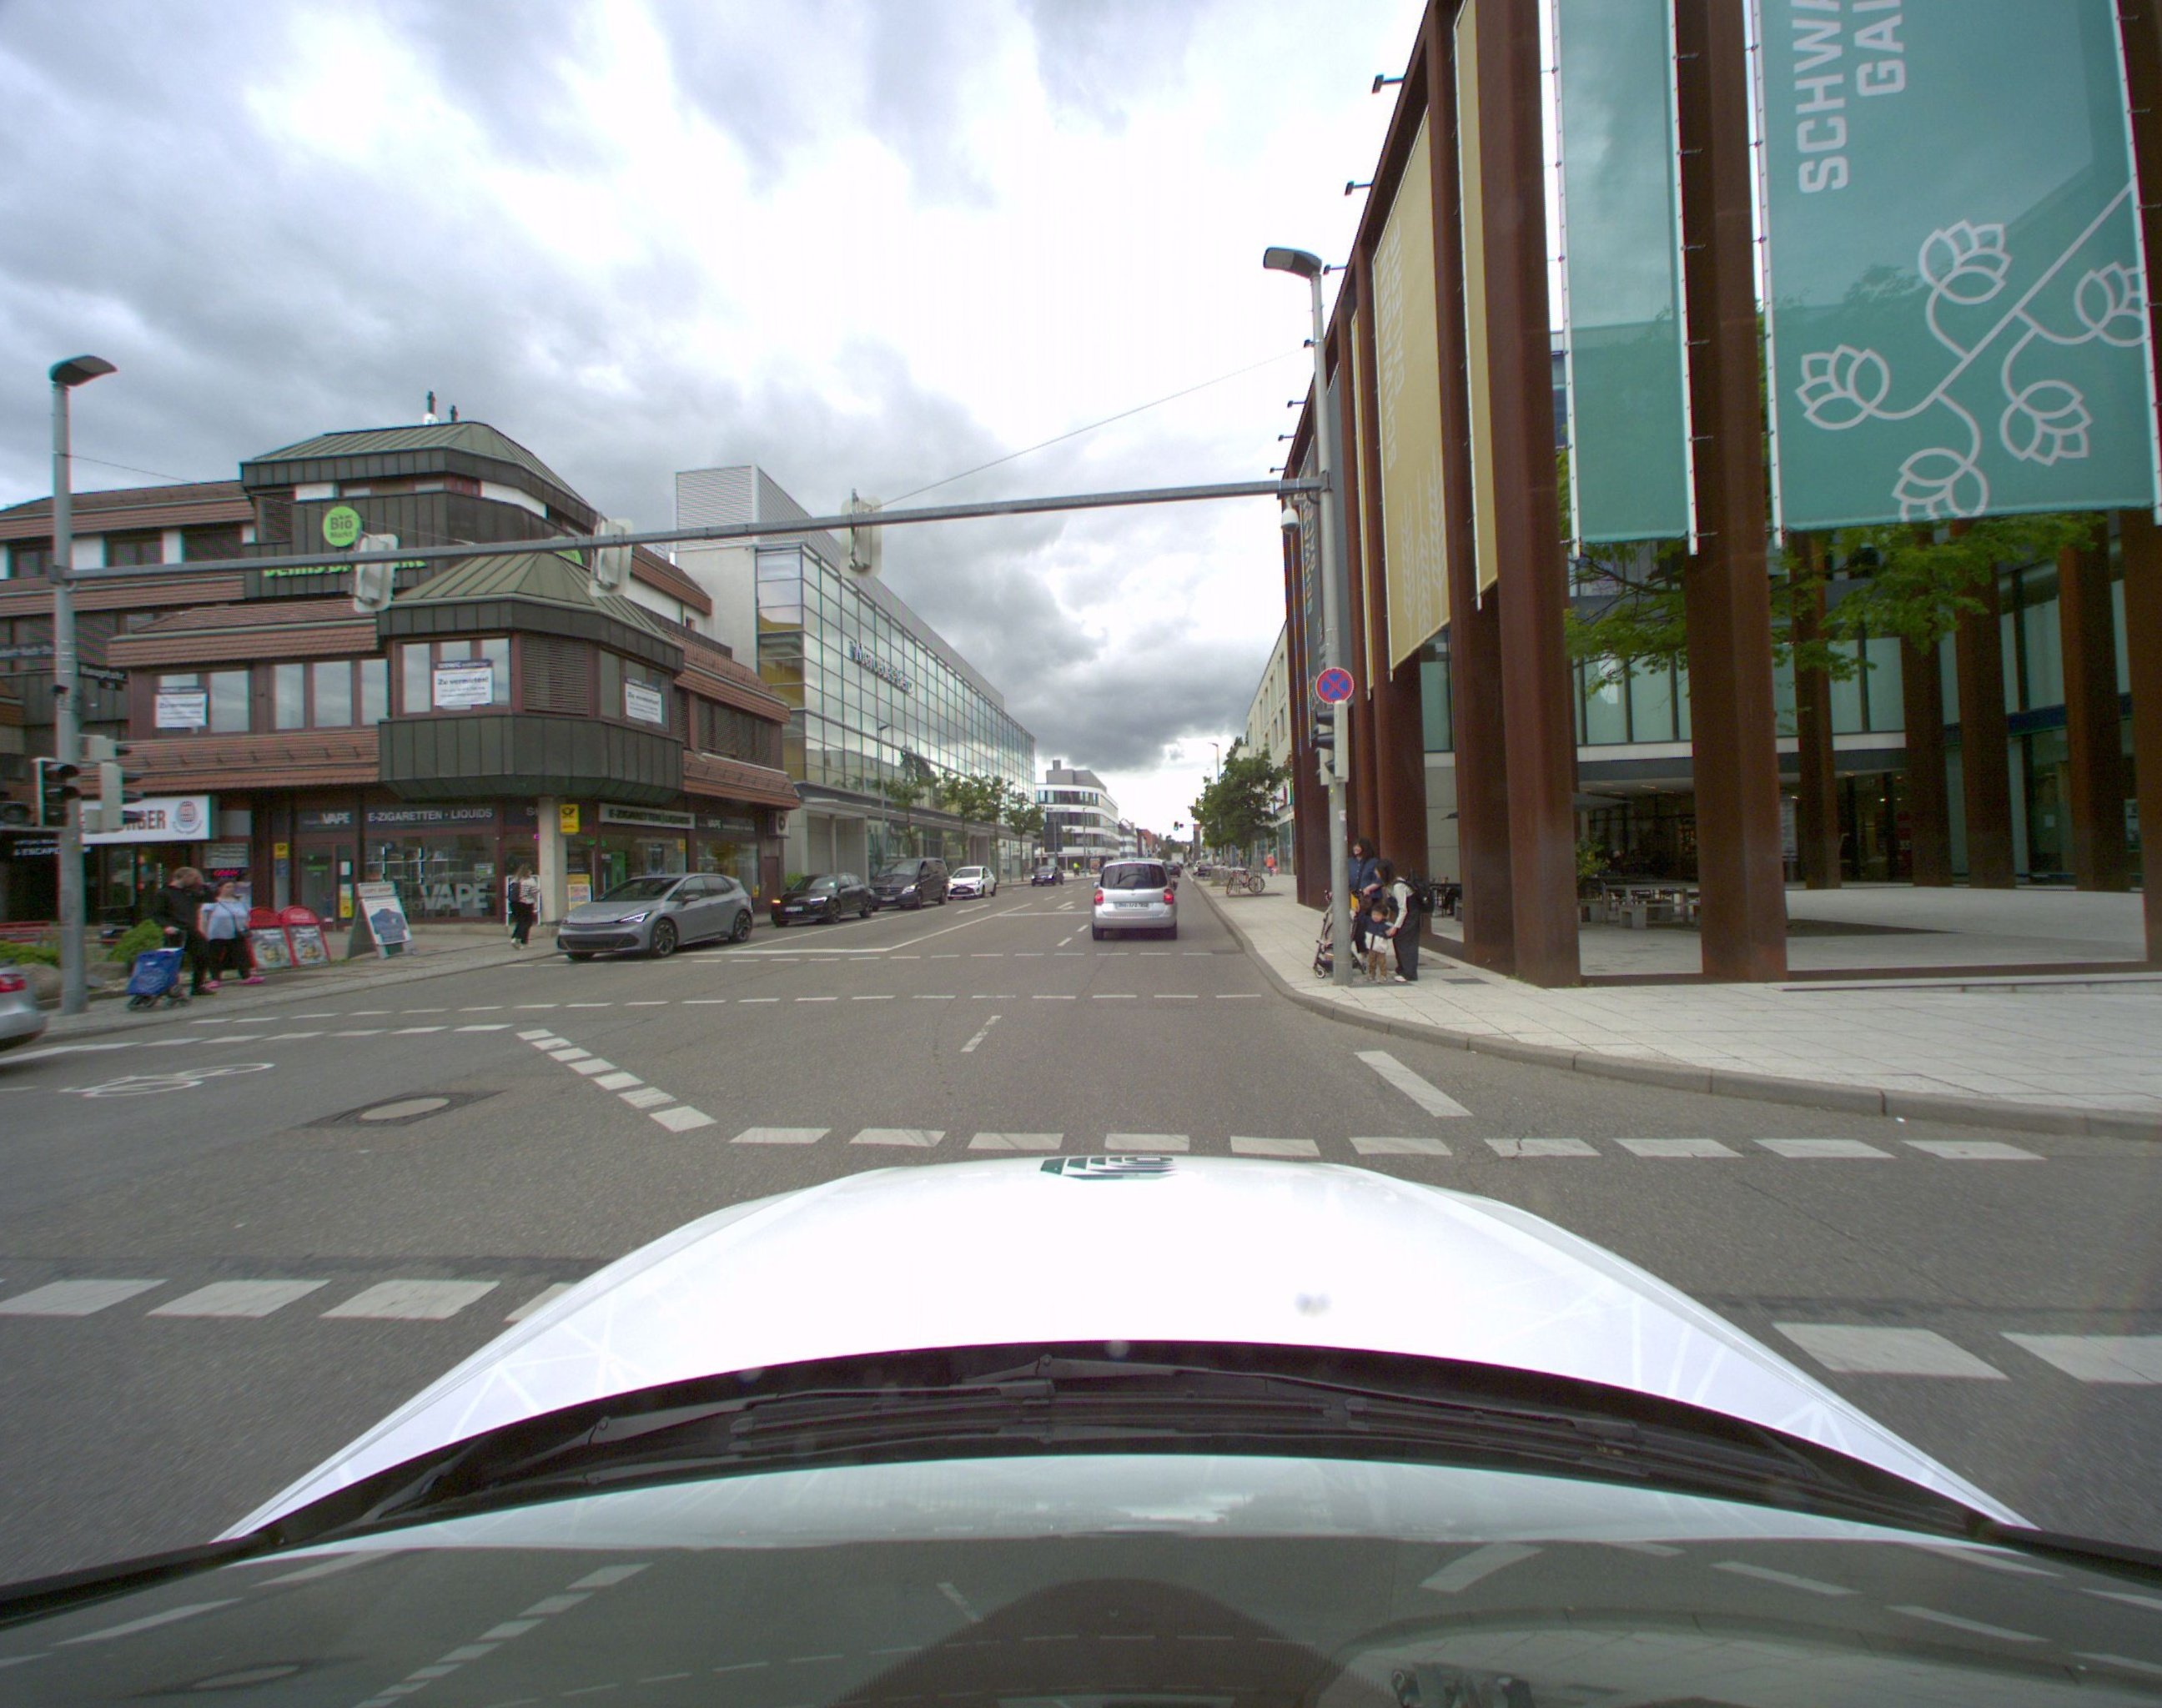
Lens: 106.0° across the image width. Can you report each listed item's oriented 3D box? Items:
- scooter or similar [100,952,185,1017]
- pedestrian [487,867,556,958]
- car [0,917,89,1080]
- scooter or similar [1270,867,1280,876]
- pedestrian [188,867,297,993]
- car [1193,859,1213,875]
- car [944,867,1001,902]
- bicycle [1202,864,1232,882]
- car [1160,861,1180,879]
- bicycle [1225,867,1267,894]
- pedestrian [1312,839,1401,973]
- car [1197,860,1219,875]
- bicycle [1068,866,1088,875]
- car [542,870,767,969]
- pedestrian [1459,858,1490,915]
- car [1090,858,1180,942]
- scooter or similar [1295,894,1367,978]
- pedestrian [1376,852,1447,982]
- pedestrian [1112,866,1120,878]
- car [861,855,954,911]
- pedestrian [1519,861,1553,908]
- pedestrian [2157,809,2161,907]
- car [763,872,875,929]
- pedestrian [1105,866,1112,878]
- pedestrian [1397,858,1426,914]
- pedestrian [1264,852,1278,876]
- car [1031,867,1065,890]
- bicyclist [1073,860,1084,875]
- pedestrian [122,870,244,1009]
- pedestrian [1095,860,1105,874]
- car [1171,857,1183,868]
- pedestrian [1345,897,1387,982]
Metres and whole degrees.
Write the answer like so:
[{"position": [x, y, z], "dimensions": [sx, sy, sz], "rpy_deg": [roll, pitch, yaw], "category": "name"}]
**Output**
[{"position": [-11.998, 1.662, 10.423], "dimensions": [0.453, 0.727, 0.538], "rpy_deg": [-2, 0, -2], "category": "scooter or similar"}, {"position": [-10.910, 1.121, 15.896], "dimensions": [0.746, 1.693, 0.778], "rpy_deg": [-2, -1, 2], "category": "pedestrian"}, {"position": [-11.351, 1.450, 6.451], "dimensions": [1.619, 1.418, 4.227], "rpy_deg": [-3, 1, 34], "category": "car"}, {"position": [13.042, 1.199, 54.637], "dimensions": [0.547, 0.546, 0.643], "rpy_deg": [-5, -1, 7], "category": "scooter or similar"}, {"position": [-12.592, 1.114, 12.255], "dimensions": [0.808, 1.808, 0.774], "rpy_deg": [-1, 0, -2], "category": "pedestrian"}, {"position": [12.293, 1.306, 82.193], "dimensions": [1.867, 1.509, 4.008], "rpy_deg": [0, 0, 7], "category": "car"}, {"position": [-5.085, 1.393, 38.545], "dimensions": [1.651, 1.465, 4.008], "rpy_deg": [-3, -1, 7], "category": "car"}, {"position": [8.625, 1.191, 51.755], "dimensions": [1.816, 1.074, 0.753], "rpy_deg": [-3, -1, 5], "category": "bicycle"}, {"position": [7.928, 1.368, 72.013], "dimensions": [1.660, 1.554, 3.650], "rpy_deg": [0, 0, 8], "category": "car"}, {"position": [6.439, 1.023, 31.877], "dimensions": [1.551, 0.992, 0.754], "rpy_deg": [-2, -1, 9], "category": "bicycle"}, {"position": [3.566, 0.643, 10.544], "dimensions": [0.861, 1.646, 0.684], "rpy_deg": [-2, 0, 41], "category": "pedestrian"}, {"position": [11.819, 1.237, 75.819], "dimensions": [1.867, 1.335, 4.008], "rpy_deg": [0, 0, 7], "category": "car"}, {"position": [-0.327, 1.883, 92.045], "dimensions": [1.011, 1.018, 3.102], "rpy_deg": [1, -1, -27], "category": "bicycle"}, {"position": [-8.213, 1.179, 16.246], "dimensions": [1.750, 1.517, 4.394], "rpy_deg": [-3, 0, 6], "category": "car"}, {"position": [8.690, 0.702, 18.001], "dimensions": [0.445, 1.220, 0.608], "rpy_deg": [-2, -1, 10], "category": "pedestrian"}, {"position": [1.146, 0.868, 17.008], "dimensions": [1.662, 1.554, 3.646], "rpy_deg": [0, 0, 4], "category": "car"}, {"position": [3.093, 0.993, 10.067], "dimensions": [0.627, 0.961, 0.624], "rpy_deg": [-2, -1, 40], "category": "scooter or similar"}, {"position": [3.753, 0.696, 9.287], "dimensions": [0.598, 1.420, 0.584], "rpy_deg": [-2, 0, 8], "category": "pedestrian"}, {"position": [5.584, 2.929, 129.747], "dimensions": [0.955, 1.833, 1.253], "rpy_deg": [-2, -1, 7], "category": "pedestrian"}, {"position": [-6.500, 1.035, 31.134], "dimensions": [1.856, 1.910, 5.123], "rpy_deg": [-3, -1, 7], "category": "car"}, {"position": [12.311, 0.812, 22.048], "dimensions": [0.513, 1.208, 0.796], "rpy_deg": [-2, 0, 5], "category": "pedestrian"}, {"position": [11.742, 0.356, 7.971], "dimensions": [0.875, 1.681, 1.121], "rpy_deg": [-2, -1, 4], "category": "pedestrian"}, {"position": [-7.539, 1.289, 23.838], "dimensions": [1.694, 1.443, 4.005], "rpy_deg": [-2, -1, 4], "category": "car"}, {"position": [4.431, 2.850, 131.322], "dimensions": [0.955, 1.833, 1.253], "rpy_deg": [-2, -1, 7], "category": "pedestrian"}, {"position": [7.387, 0.704, 18.213], "dimensions": [0.445, 1.220, 0.608], "rpy_deg": [-2, -1, 9], "category": "pedestrian"}, {"position": [12.930, 0.697, 55.530], "dimensions": [0.706, 1.574, 0.814], "rpy_deg": [-5, -1, 7], "category": "pedestrian"}, {"position": [-2.321, 1.739, 58.373], "dimensions": [1.651, 1.480, 4.009], "rpy_deg": [-3, -1, 8], "category": "car"}, {"position": [-0.273, 1.562, 91.953], "dimensions": [1.011, 1.660, 0.924], "rpy_deg": [1, -1, -27], "category": "bicyclist"}, {"position": [-12.190, 1.130, 11.084], "dimensions": [0.808, 1.808, 0.745], "rpy_deg": [-1, 0, -2], "category": "pedestrian"}, {"position": [2.636, 1.809, 111.726], "dimensions": [1.243, 1.833, 0.963], "rpy_deg": [-2, -1, -2], "category": "pedestrian"}, {"position": [18.391, 1.658, 155.808], "dimensions": [2.158, 2.014, 4.266], "rpy_deg": [-2, -1, 7], "category": "car"}, {"position": [3.264, 0.967, 9.340], "dimensions": [0.359, 0.924, 0.455], "rpy_deg": [-2, 0, 9], "category": "pedestrian"}]
